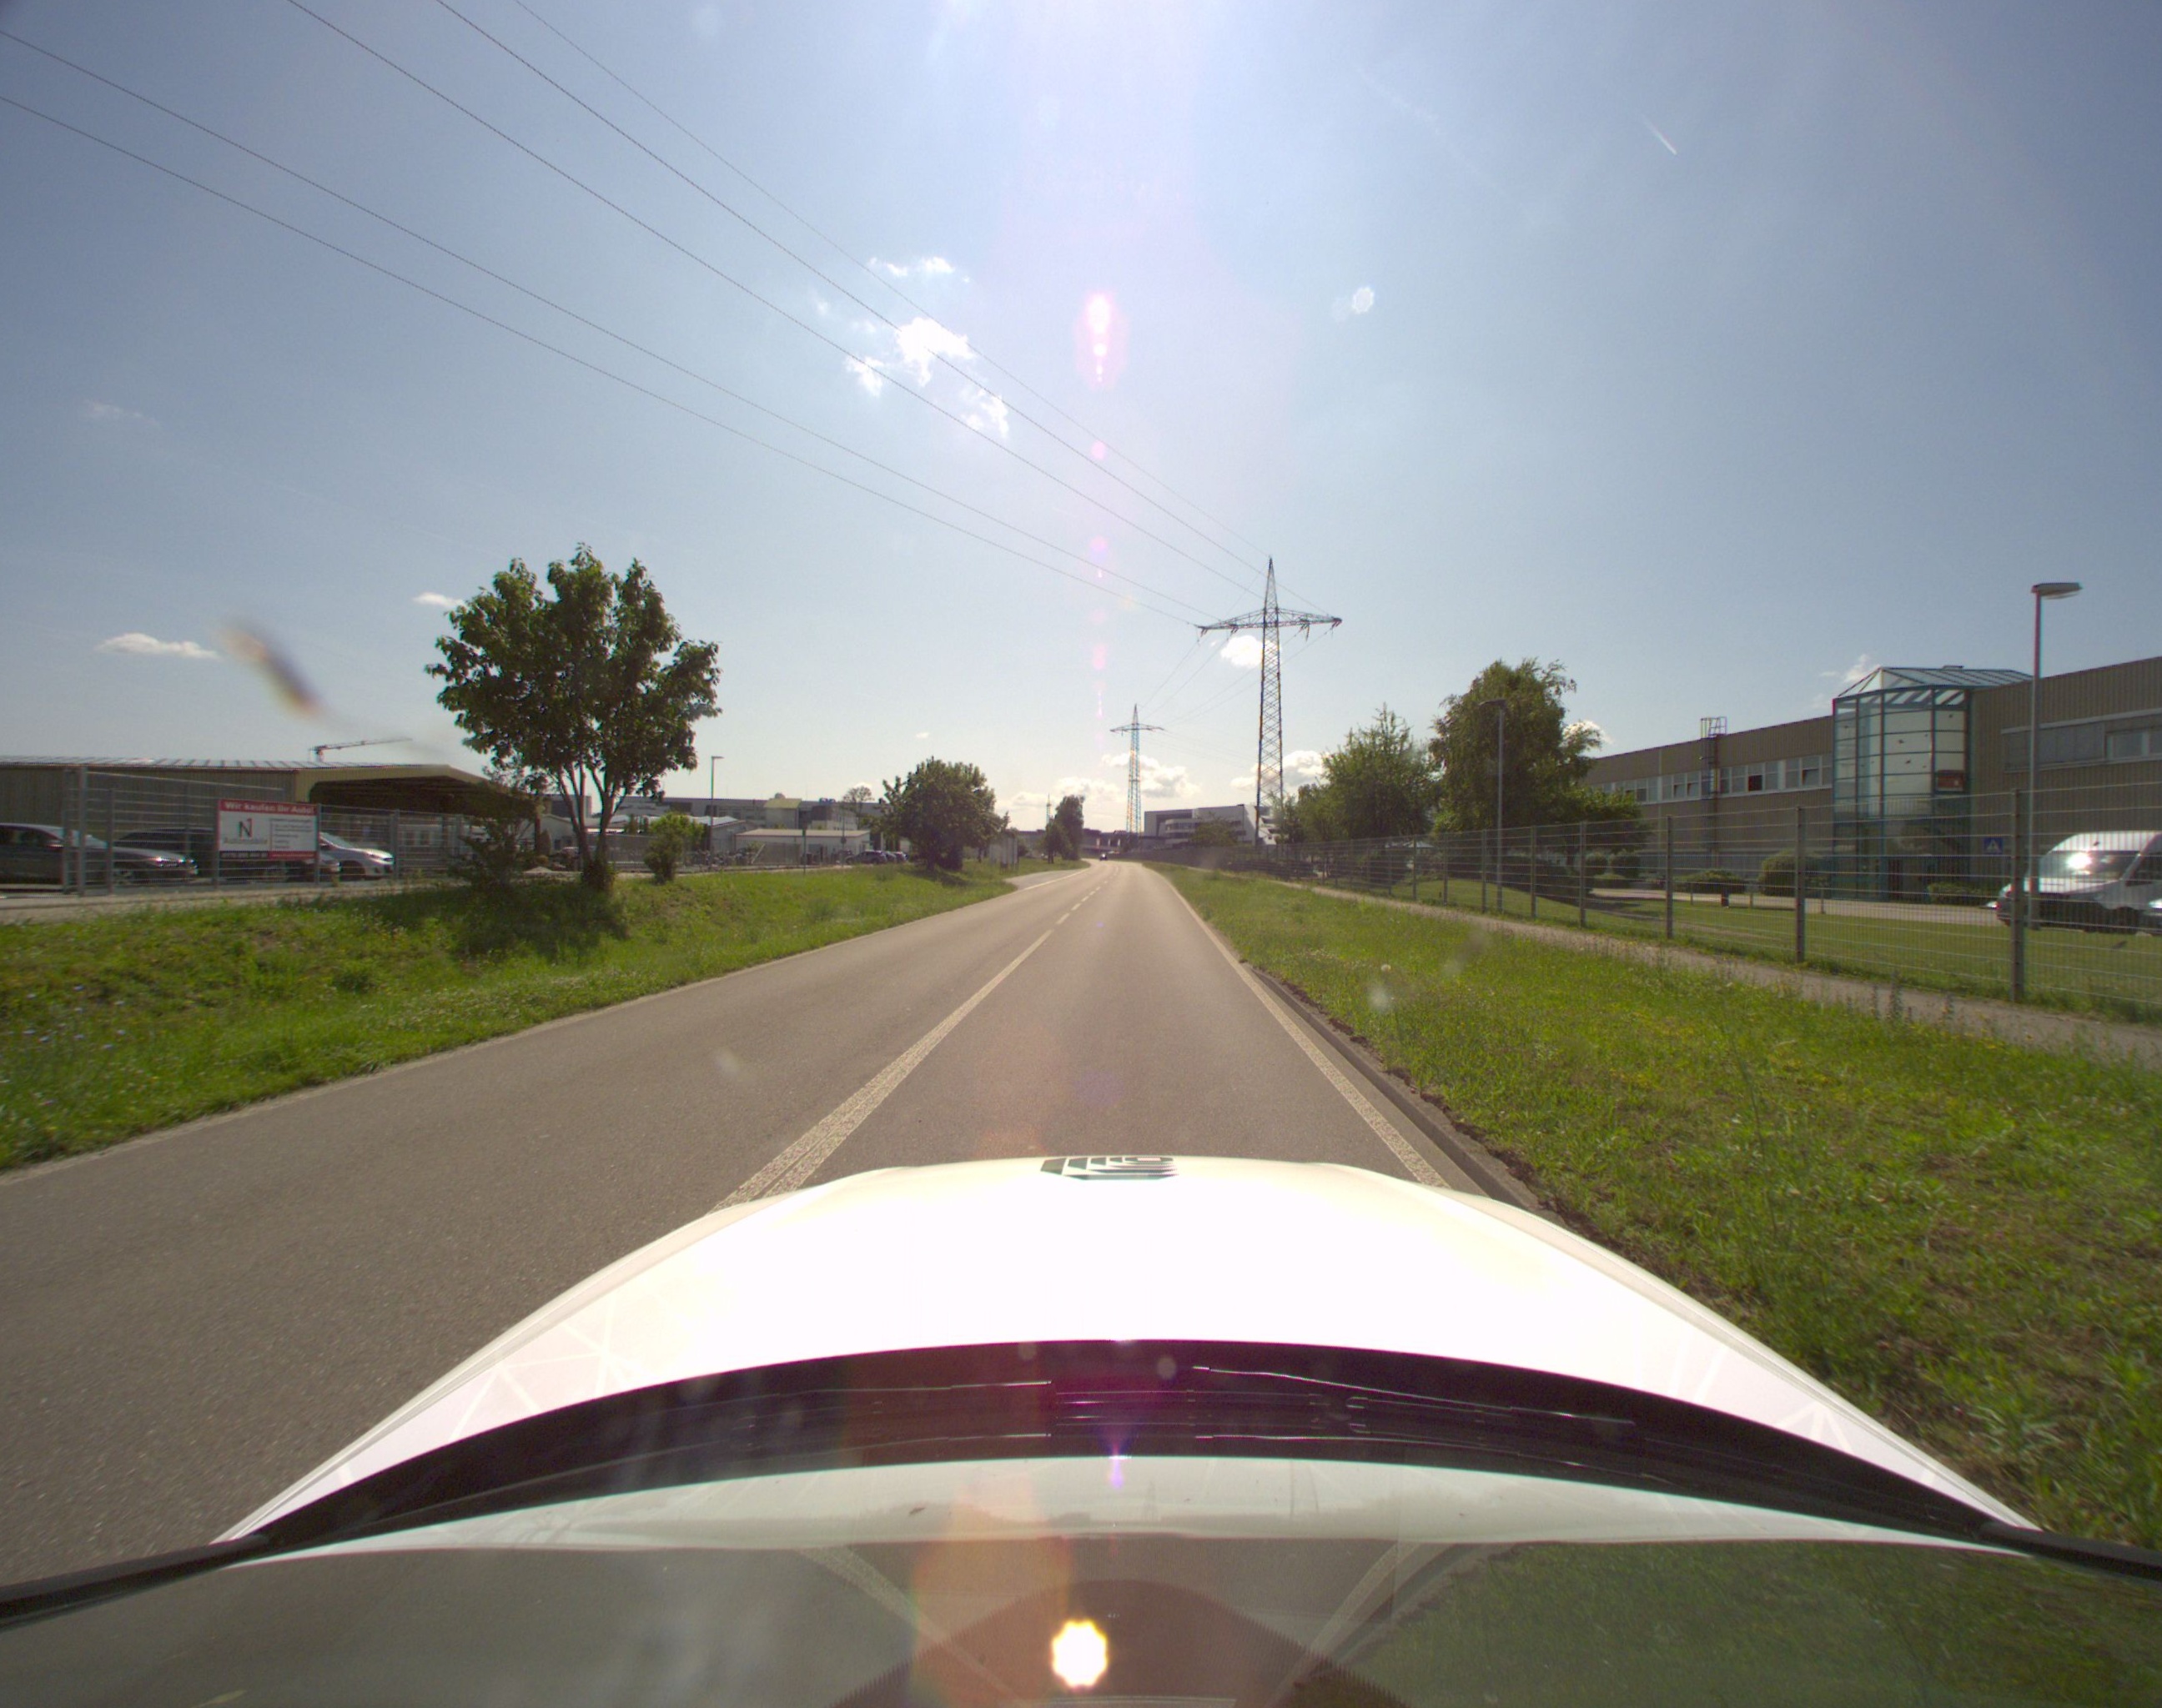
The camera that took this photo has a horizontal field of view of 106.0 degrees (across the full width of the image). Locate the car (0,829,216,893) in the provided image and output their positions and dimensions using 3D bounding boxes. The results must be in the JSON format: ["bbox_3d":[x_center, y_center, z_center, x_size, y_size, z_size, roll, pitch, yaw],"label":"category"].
[{"bbox_3d":[-22.149,0.145,17.808,4.011,1.310,1.924,1,0,-30],"label":"car"}]

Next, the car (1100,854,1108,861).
[{"bbox_3d":[5.548,0.909,197.614,2.005,1.508,4.000,-2,0,0],"label":"car"}]

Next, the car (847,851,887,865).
[{"bbox_3d":[-24.139,0.438,91.998,3.977,1.528,1.998,1,0,-3],"label":"car"}]

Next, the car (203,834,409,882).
[{"bbox_3d":[-22.604,0.141,24.005,4.011,1.310,1.924,1,0,-30],"label":"car"}]

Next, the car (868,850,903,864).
[{"bbox_3d":[-24.650,0.329,102.911,3.977,1.640,1.998,1,0,-3],"label":"car"}]

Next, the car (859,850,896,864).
[{"bbox_3d":[-24.090,0.403,96.388,3.977,1.555,1.664,1,0,-3],"label":"car"}]

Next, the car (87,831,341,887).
[{"bbox_3d":[-21.863,0.153,20.810,4.011,1.310,1.924,1,0,-30],"label":"car"}]

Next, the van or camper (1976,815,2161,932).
[{"bbox_3d":[25.326,0.564,19.515,5.759,2.518,1.998,4,0,-4],"label":"van or camper"}]

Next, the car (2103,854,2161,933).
[{"bbox_3d":[24.459,0.877,16.985,3.978,1.640,1.998,1,0,-3],"label":"car"}]
